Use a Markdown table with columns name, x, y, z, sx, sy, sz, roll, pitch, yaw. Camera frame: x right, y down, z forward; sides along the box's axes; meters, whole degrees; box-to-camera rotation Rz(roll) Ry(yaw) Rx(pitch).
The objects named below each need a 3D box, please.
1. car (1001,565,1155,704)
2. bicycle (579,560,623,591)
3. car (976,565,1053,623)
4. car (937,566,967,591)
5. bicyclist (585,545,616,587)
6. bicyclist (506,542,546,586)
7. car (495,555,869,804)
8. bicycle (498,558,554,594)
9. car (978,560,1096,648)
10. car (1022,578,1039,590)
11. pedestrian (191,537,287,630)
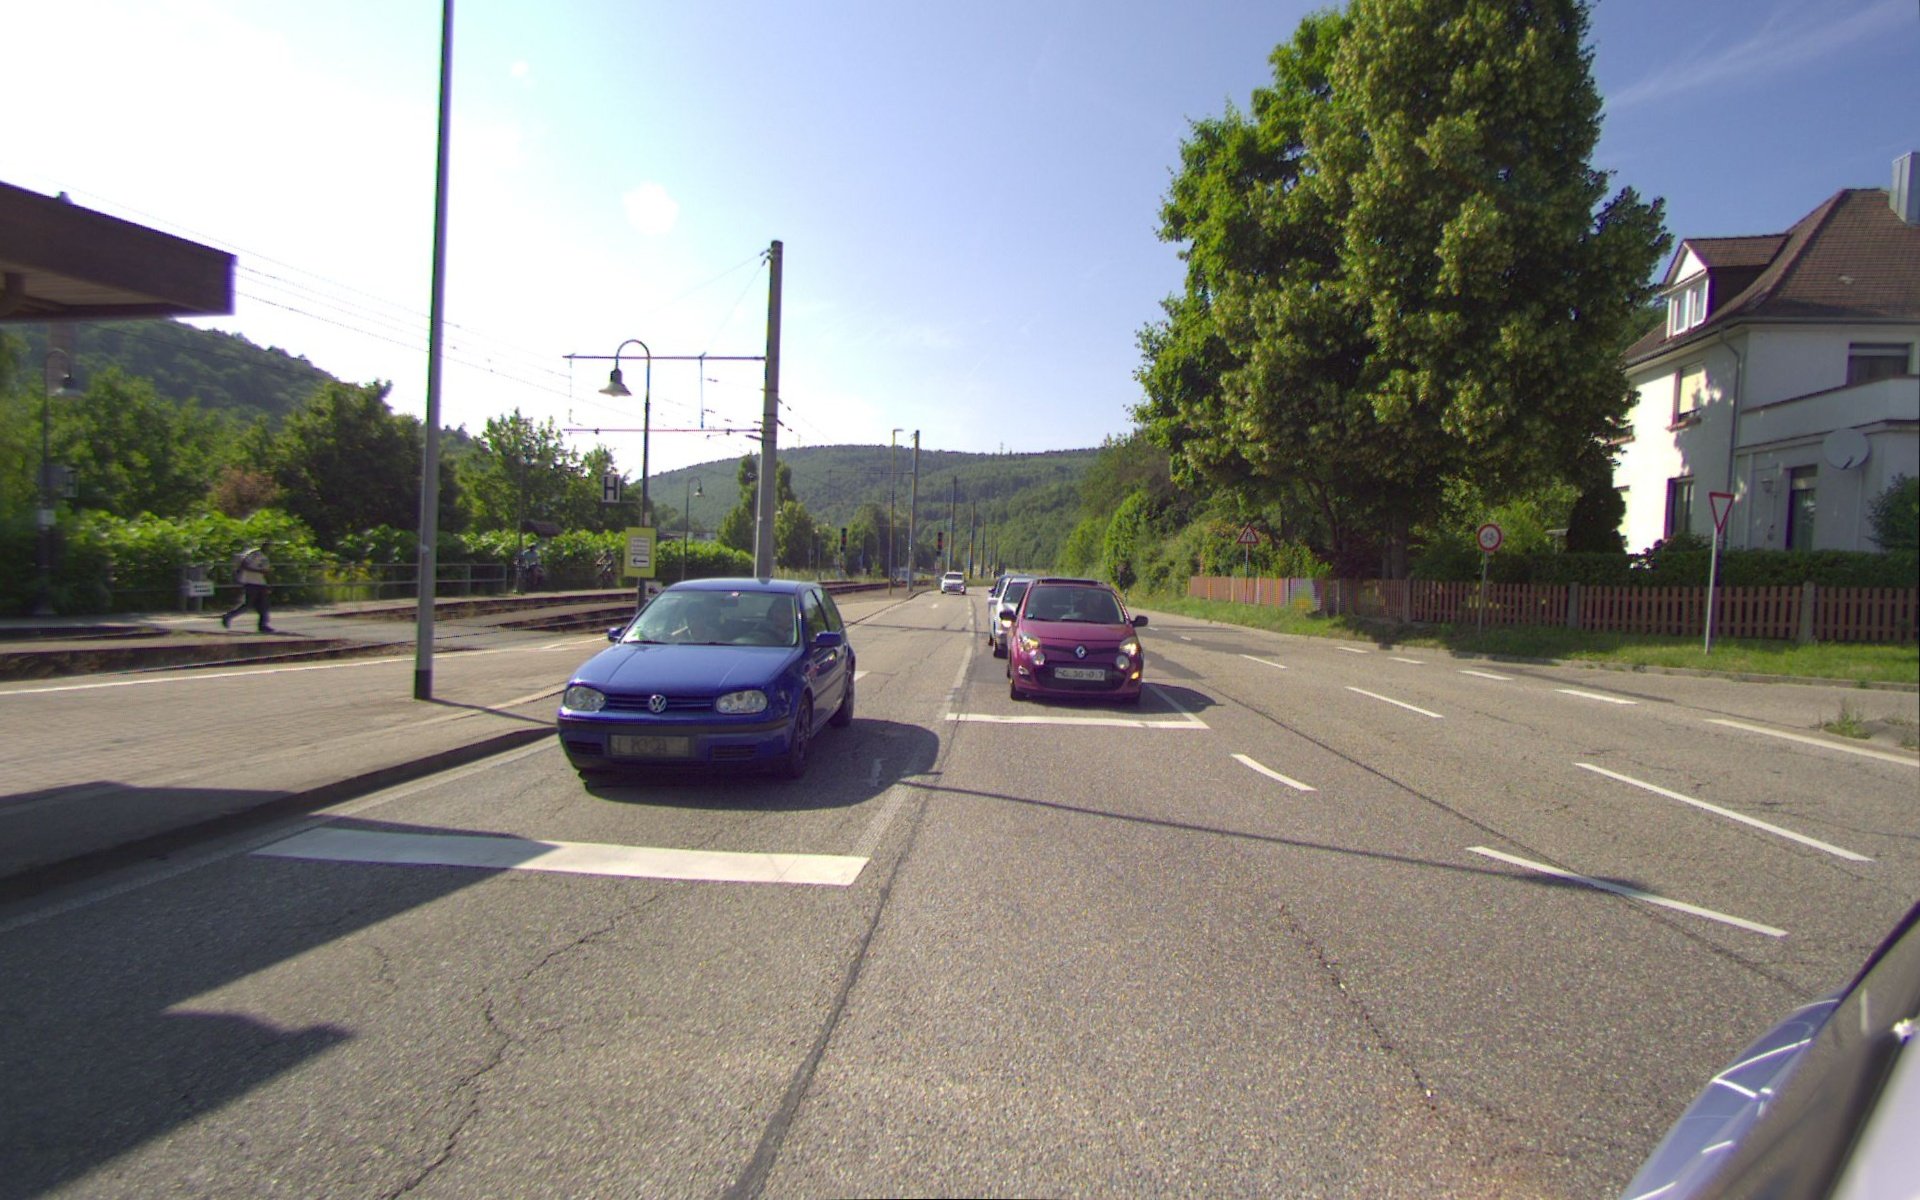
| name | x | y | z | sx | sy | sz | roll | pitch | yaw |
| --- | --- | --- | --- | --- | --- | --- | --- | --- | --- |
| car | 1.421 | 0.358 | 13.469 | 1.631 | 1.553 | 3.954 | 1 | 1 | 1 |
| bicycle | -15.404 | -1.051 | 43.466 | 0.858 | 1.270 | 2.291 | 0 | 0 | 7 |
| car | 1.474 | -0.172 | 28.656 | 1.943 | 1.523 | 3.986 | 0 | 0 | 0 |
| car | -0.538 | -1.452 | 69.056 | 1.962 | 1.605 | 4.000 | 0 | 1 | 0 |
| bicyclist | -15.418 | -1.460 | 43.411 | 0.993 | 1.748 | 0.864 | 0 | 0 | 7 |
| bicyclist | -16.026 | -1.322 | 37.407 | 0.993 | 1.573 | 1.039 | 0 | 0 | 7 |
| car | -1.939 | 0.434 | 8.468 | 1.832 | 1.501 | 4.301 | 1 | 2 | 2 |
| bicycle | -16.034 | -0.868 | 37.466 | 0.858 | 1.270 | 2.291 | 0 | 0 | 7 |
| car | 1.369 | 0.053 | 19.866 | 1.943 | 1.523 | 4.751 | 0 | 0 | 0 |
| car | 10.366 | -2.389 | 149.436 | 1.961 | 1.705 | 4.002 | 0 | 0 | -3 |
| pedestrian | -14.047 | -0.316 | 19.742 | 1.228 | 1.759 | 0.916 | -1 | 0 | 2 |
